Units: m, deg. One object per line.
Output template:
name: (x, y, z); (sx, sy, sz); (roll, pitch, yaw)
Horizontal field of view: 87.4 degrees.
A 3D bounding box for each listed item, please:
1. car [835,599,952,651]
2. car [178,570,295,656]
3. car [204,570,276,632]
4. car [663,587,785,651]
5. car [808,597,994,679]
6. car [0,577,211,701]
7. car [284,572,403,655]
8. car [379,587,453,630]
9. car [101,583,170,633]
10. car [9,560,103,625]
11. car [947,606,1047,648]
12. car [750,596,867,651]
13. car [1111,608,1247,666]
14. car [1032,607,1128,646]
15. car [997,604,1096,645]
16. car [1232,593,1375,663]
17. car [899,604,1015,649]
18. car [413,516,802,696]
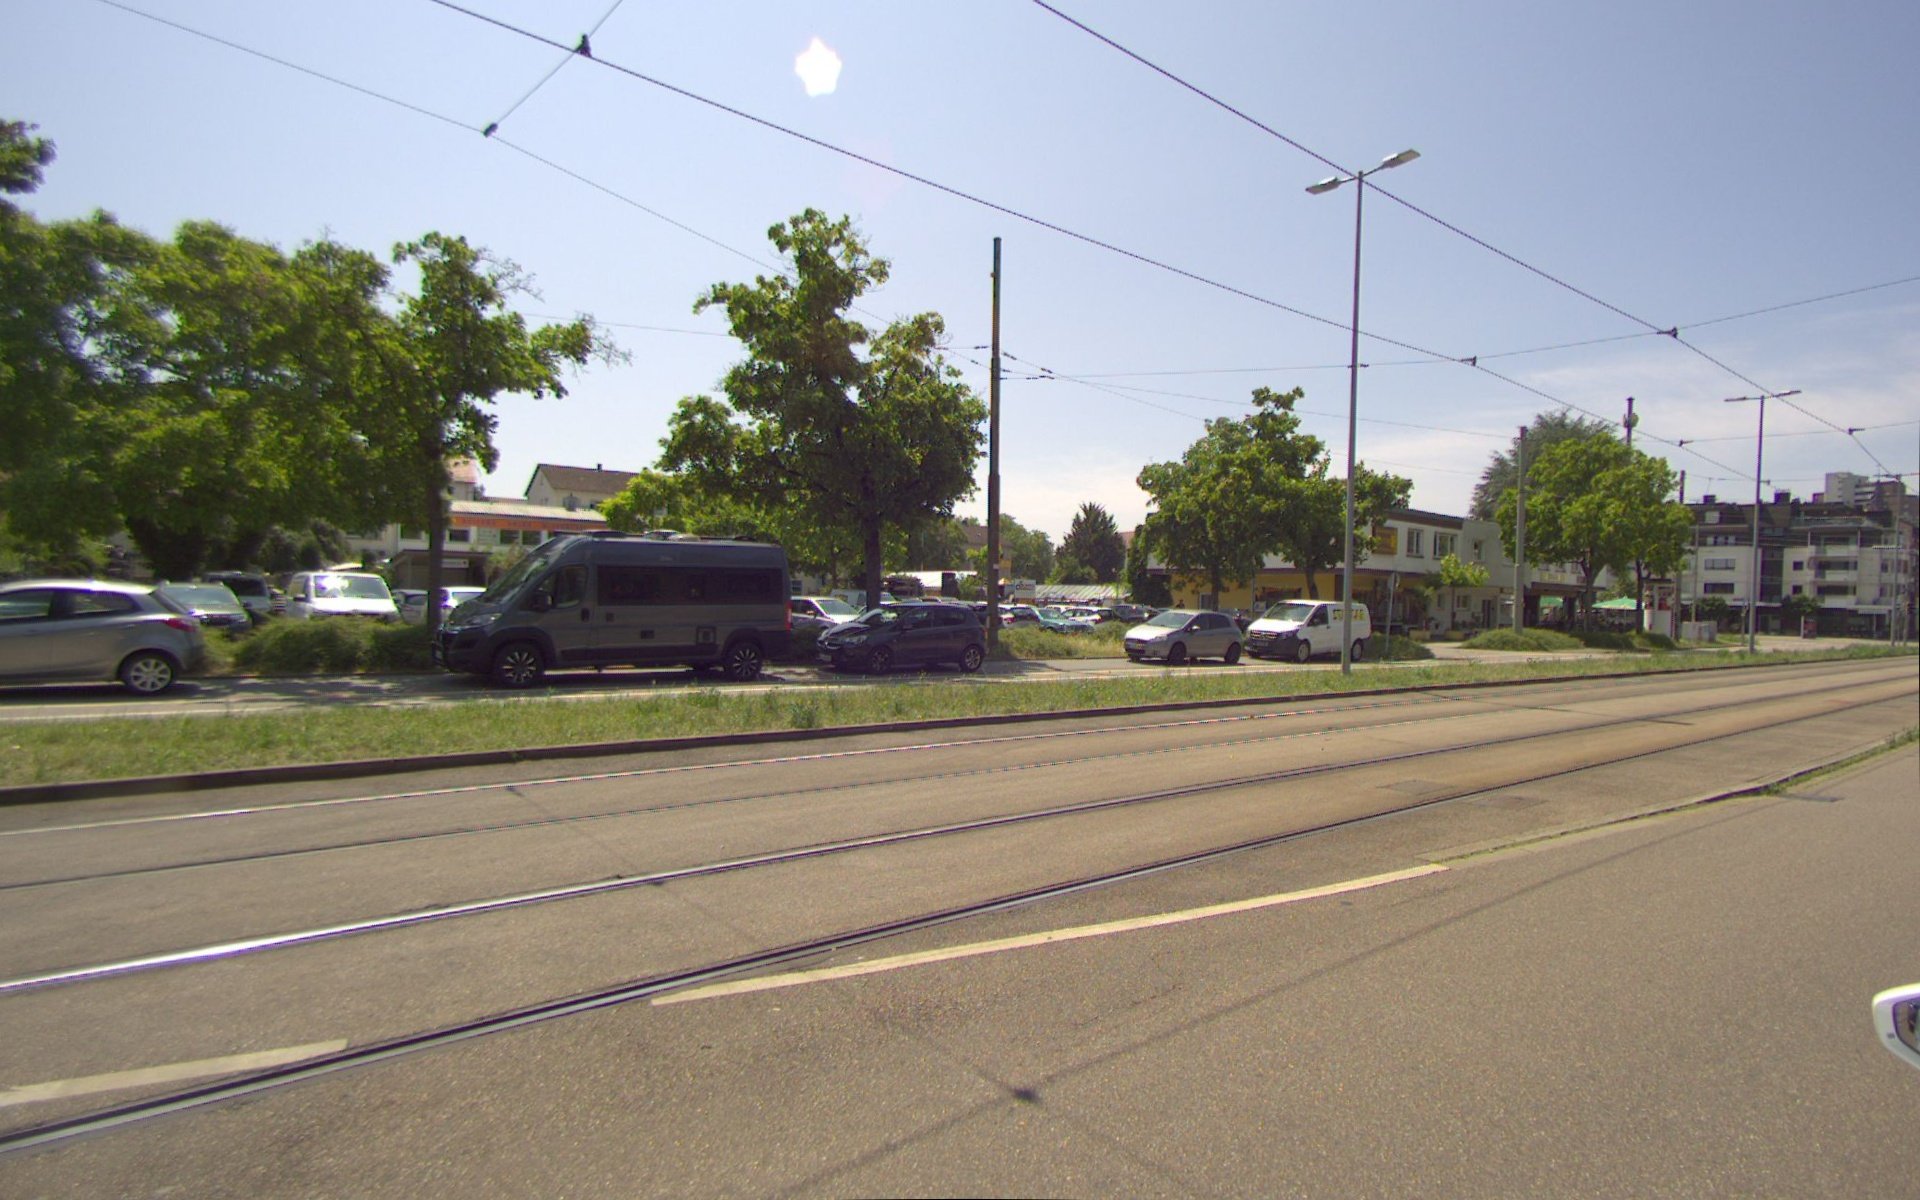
car: (-2.355, 0.817, 34.714); (1.782, 1.624, 4.342); (1, 0, -40)
car: (-16.574, 0.255, 22.919); (1.842, 1.789, 4.173); (1, 0, -40)
car: (-23.374, 0.001, 32.544); (1.762, 1.845, 4.096); (1, 1, -37)
car: (-7.475, 0.553, 31.526); (1.782, 1.837, 4.678); (1, 0, -40)
car: (-1.218, 0.802, 21.848); (3.990, 1.543, 1.301); (2, 4, -40)
car: (-12.154, 0.478, 13.068); (3.807, 1.459, 1.393); (2, 4, -40)
car: (-15.117, 0.278, 24.522); (1.782, 1.837, 4.678); (1, 0, -40)
car: (-19.980, 0.279, 36.797); (1.762, 1.399, 4.096); (1, 1, -37)
car: (-26.040, 0.223, 31.805); (1.496, 1.422, 4.096); (1, 1, -37)
car: (-27.428, -0.260, 30.594); (1.762, 1.845, 4.096); (1, 1, -37)
car: (1.364, 0.984, 38.053); (1.633, 1.450, 3.829); (1, 0, -40)
car: (-5.042, 0.728, 32.949); (1.782, 1.624, 4.342); (1, 0, -40)
car: (6.237, 1.025, 28.406); (3.831, 1.439, 1.619); (2, 2, -37)
car: (4.924, 1.064, 41.603); (1.633, 1.450, 3.829); (1, 0, -40)
car: (3.325, 0.944, 39.261); (1.633, 1.450, 3.829); (1, 0, -40)
car: (11.200, 0.889, 32.572); (5.121, 1.992, 1.860); (2, 4, -40)
car: (-0.149, 0.920, 36.186); (1.959, 1.450, 3.963); (1, 0, -45)
car: (-6.166, 0.082, 18.121); (6.122, 2.692, 2.378); (1, 4, -40)
